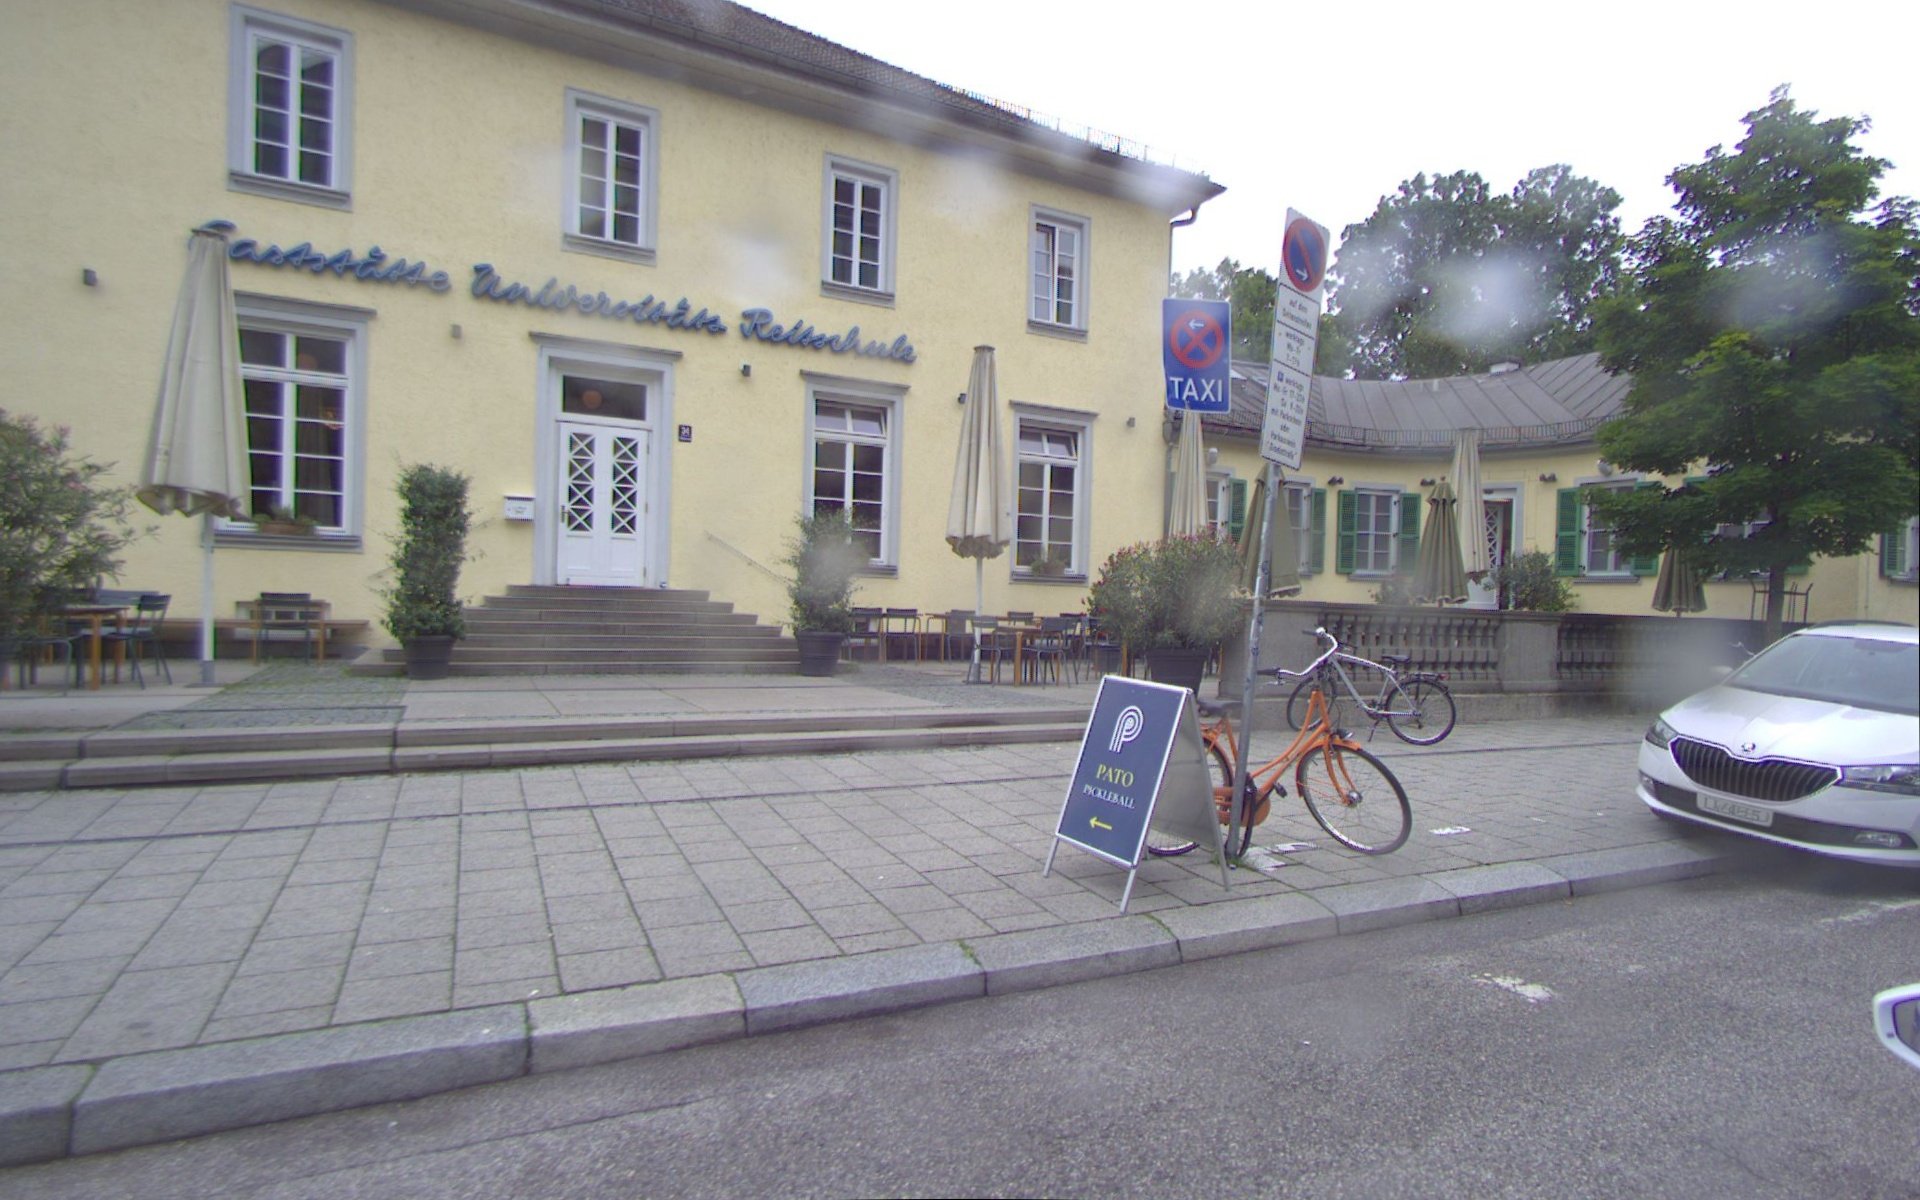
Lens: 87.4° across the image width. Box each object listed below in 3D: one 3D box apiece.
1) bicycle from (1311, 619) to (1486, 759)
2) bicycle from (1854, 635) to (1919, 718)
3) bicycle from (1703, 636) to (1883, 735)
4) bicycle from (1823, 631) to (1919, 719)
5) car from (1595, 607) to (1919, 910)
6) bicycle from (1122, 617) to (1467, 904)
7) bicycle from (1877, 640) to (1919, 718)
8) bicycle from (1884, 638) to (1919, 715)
[{"bbox_3d":[4.367,0.851,10.062,1.538,1.279,0.570,1,1,24],"label":"bicycle"},{"bbox_3d":[14.377,1.153,14.847,0.348,1.187,1.694,1,0,-27],"label":"bicycle"},{"bbox_3d":[10.396,1.043,12.602,1.603,1.103,0.637,1,0,24],"label":"bicycle"},{"bbox_3d":[13.695,1.094,14.663,0.459,1.189,1.627,1,1,-18],"label":"bicycle"},{"bbox_3d":[6.635,0.896,6.976,4.404,1.512,1.718,2,1,-27],"label":"car"},{"bbox_3d":[1.844,0.819,5.589,1.669,1.387,0.778,2,0,-20],"label":"bicycle"},{"bbox_3d":[14.752,1.203,14.922,0.382,1.152,1.622,1,0,-27],"label":"bicycle"},{"bbox_3d":[15.178,1.205,15.282,0.633,1.164,1.486,1,1,-24],"label":"bicycle"}]
